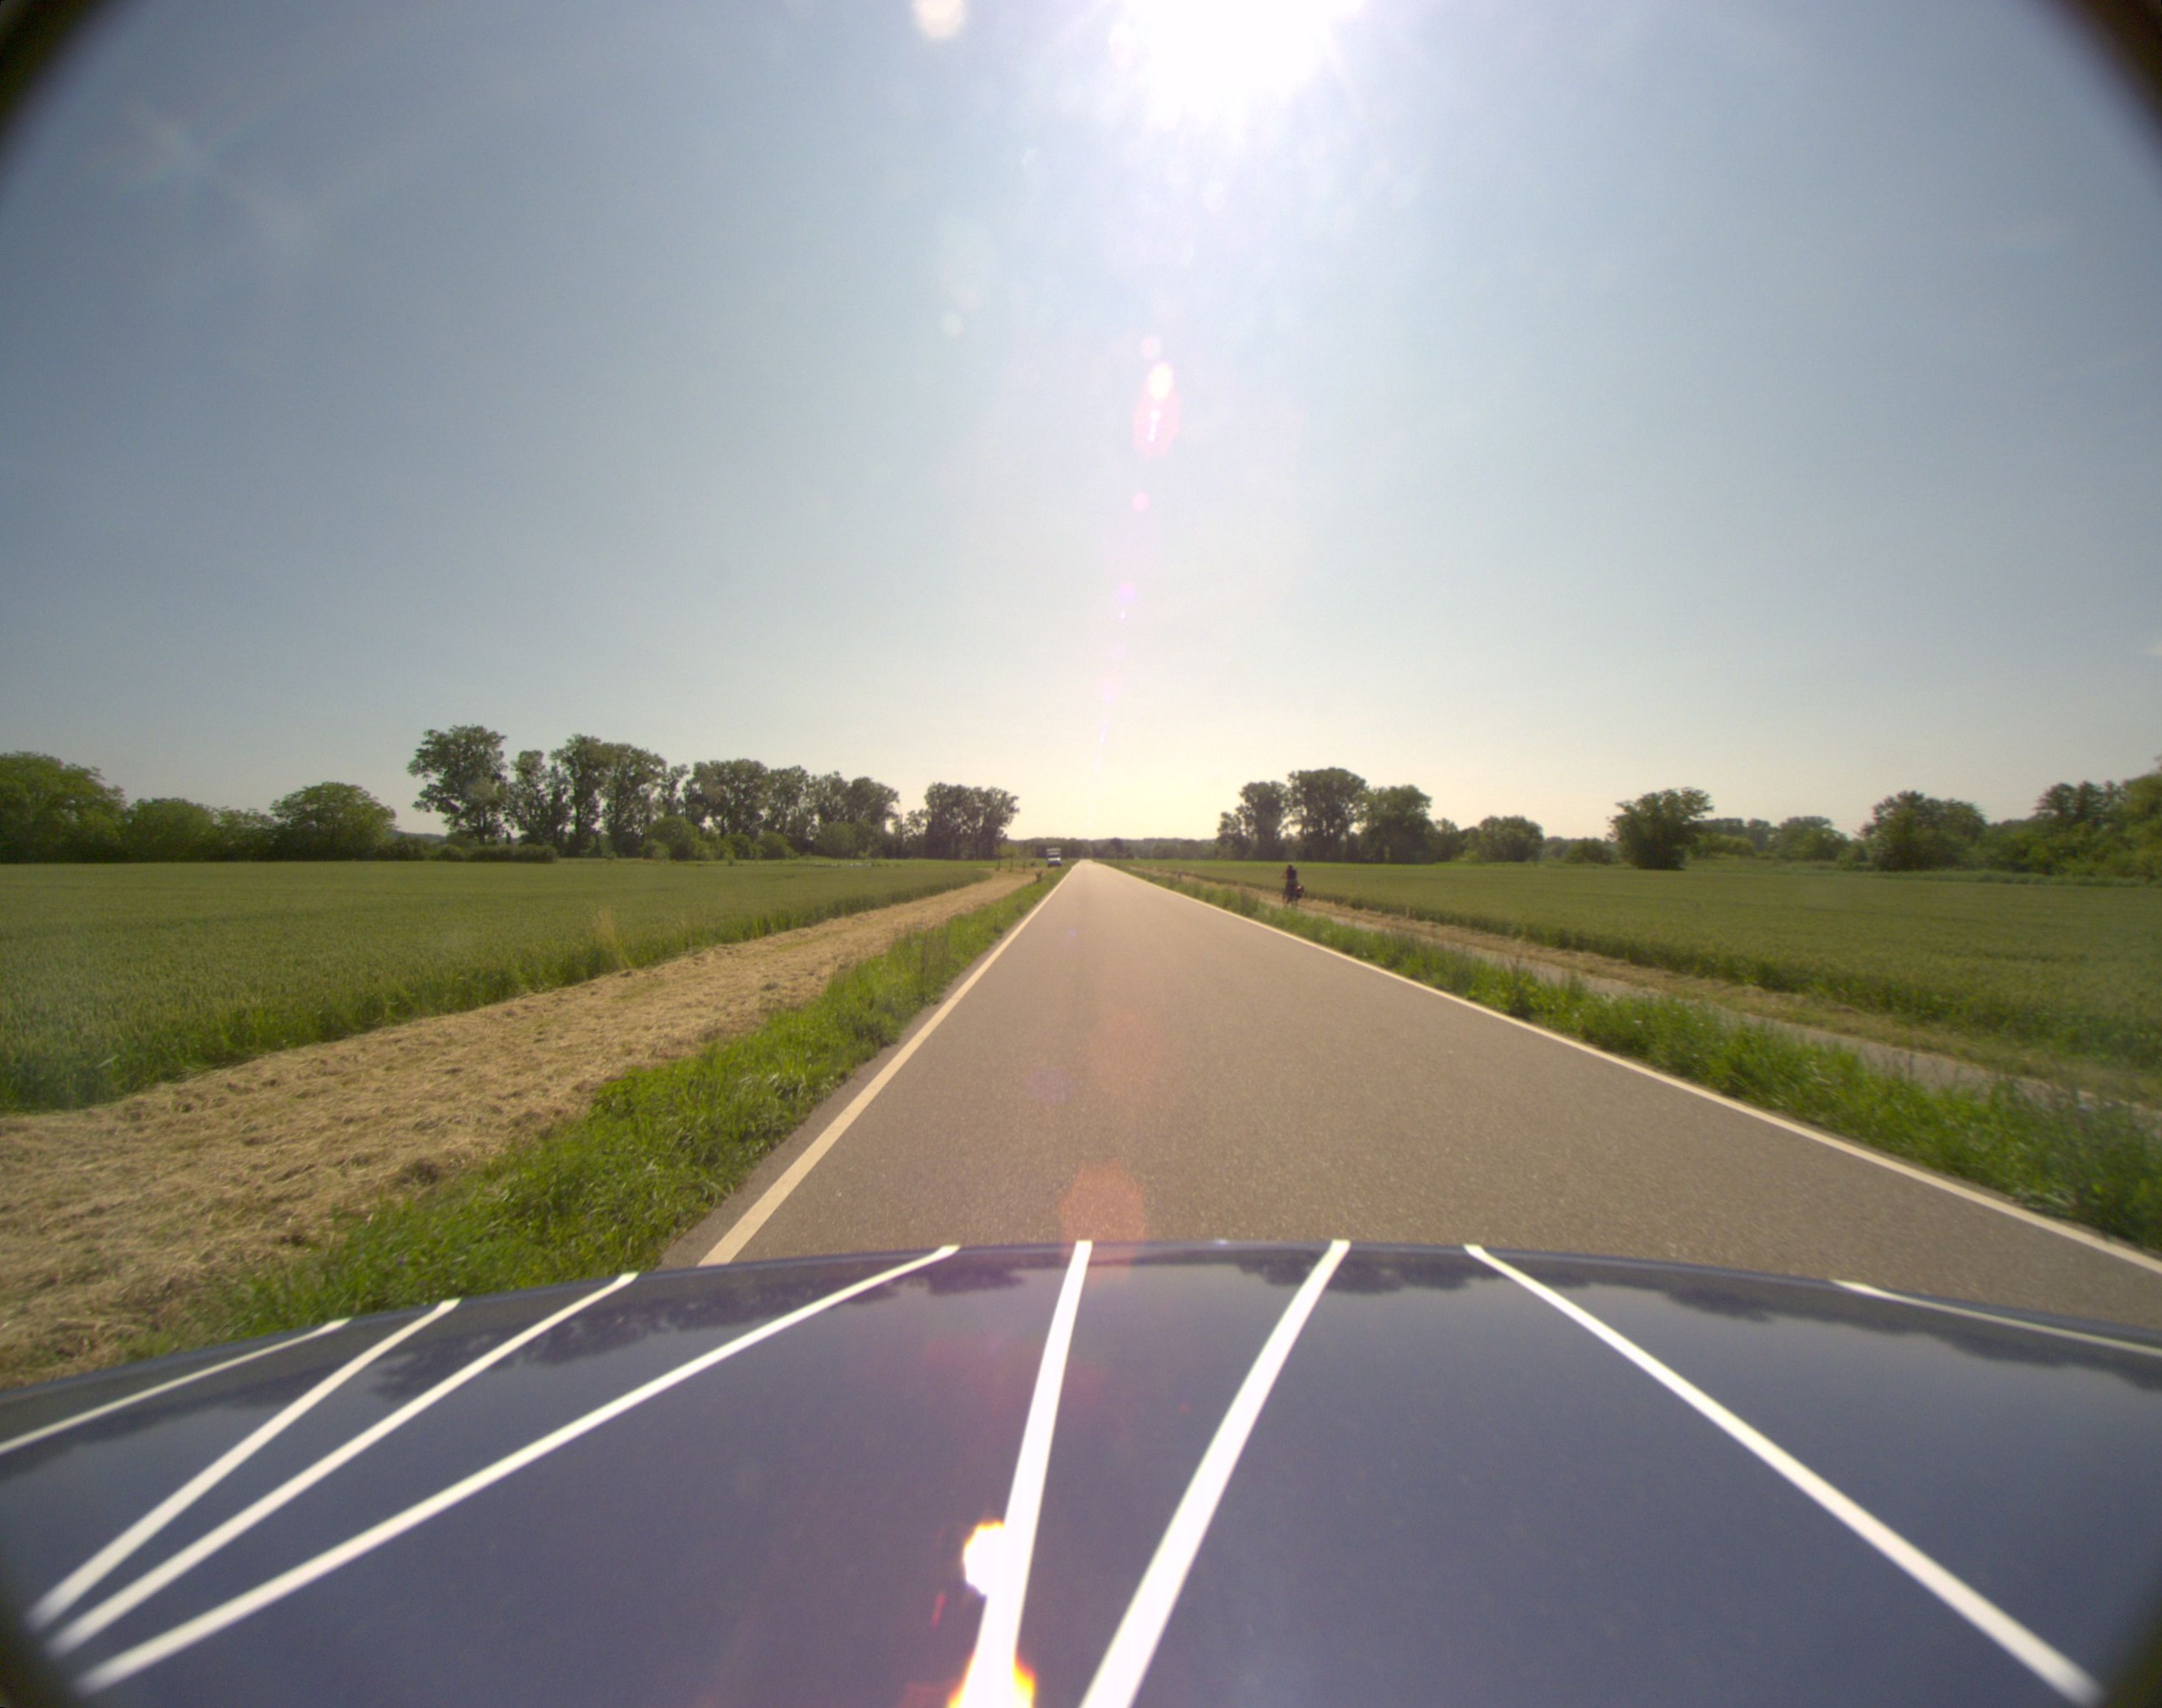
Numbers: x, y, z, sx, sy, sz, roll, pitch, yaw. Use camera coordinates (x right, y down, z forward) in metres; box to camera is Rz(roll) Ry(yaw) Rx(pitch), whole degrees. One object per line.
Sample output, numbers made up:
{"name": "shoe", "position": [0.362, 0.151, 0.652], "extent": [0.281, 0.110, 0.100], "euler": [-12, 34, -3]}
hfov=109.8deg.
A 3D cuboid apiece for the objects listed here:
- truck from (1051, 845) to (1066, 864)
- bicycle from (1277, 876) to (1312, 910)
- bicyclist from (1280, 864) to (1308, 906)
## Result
{"name": "truck", "position": [-3.468, 0.081, 117.026], "extent": [1.998, 2.821, 5.217], "euler": [0, 0, 1]}
{"name": "bicycle", "position": [7.898, 1.425, 28.172], "extent": [0.743, 1.165, 2.082], "euler": [0, 0, 1]}
{"name": "bicyclist", "position": [7.895, 1.143, 28.158], "extent": [0.743, 1.488, 1.003], "euler": [0, 1, 1]}
